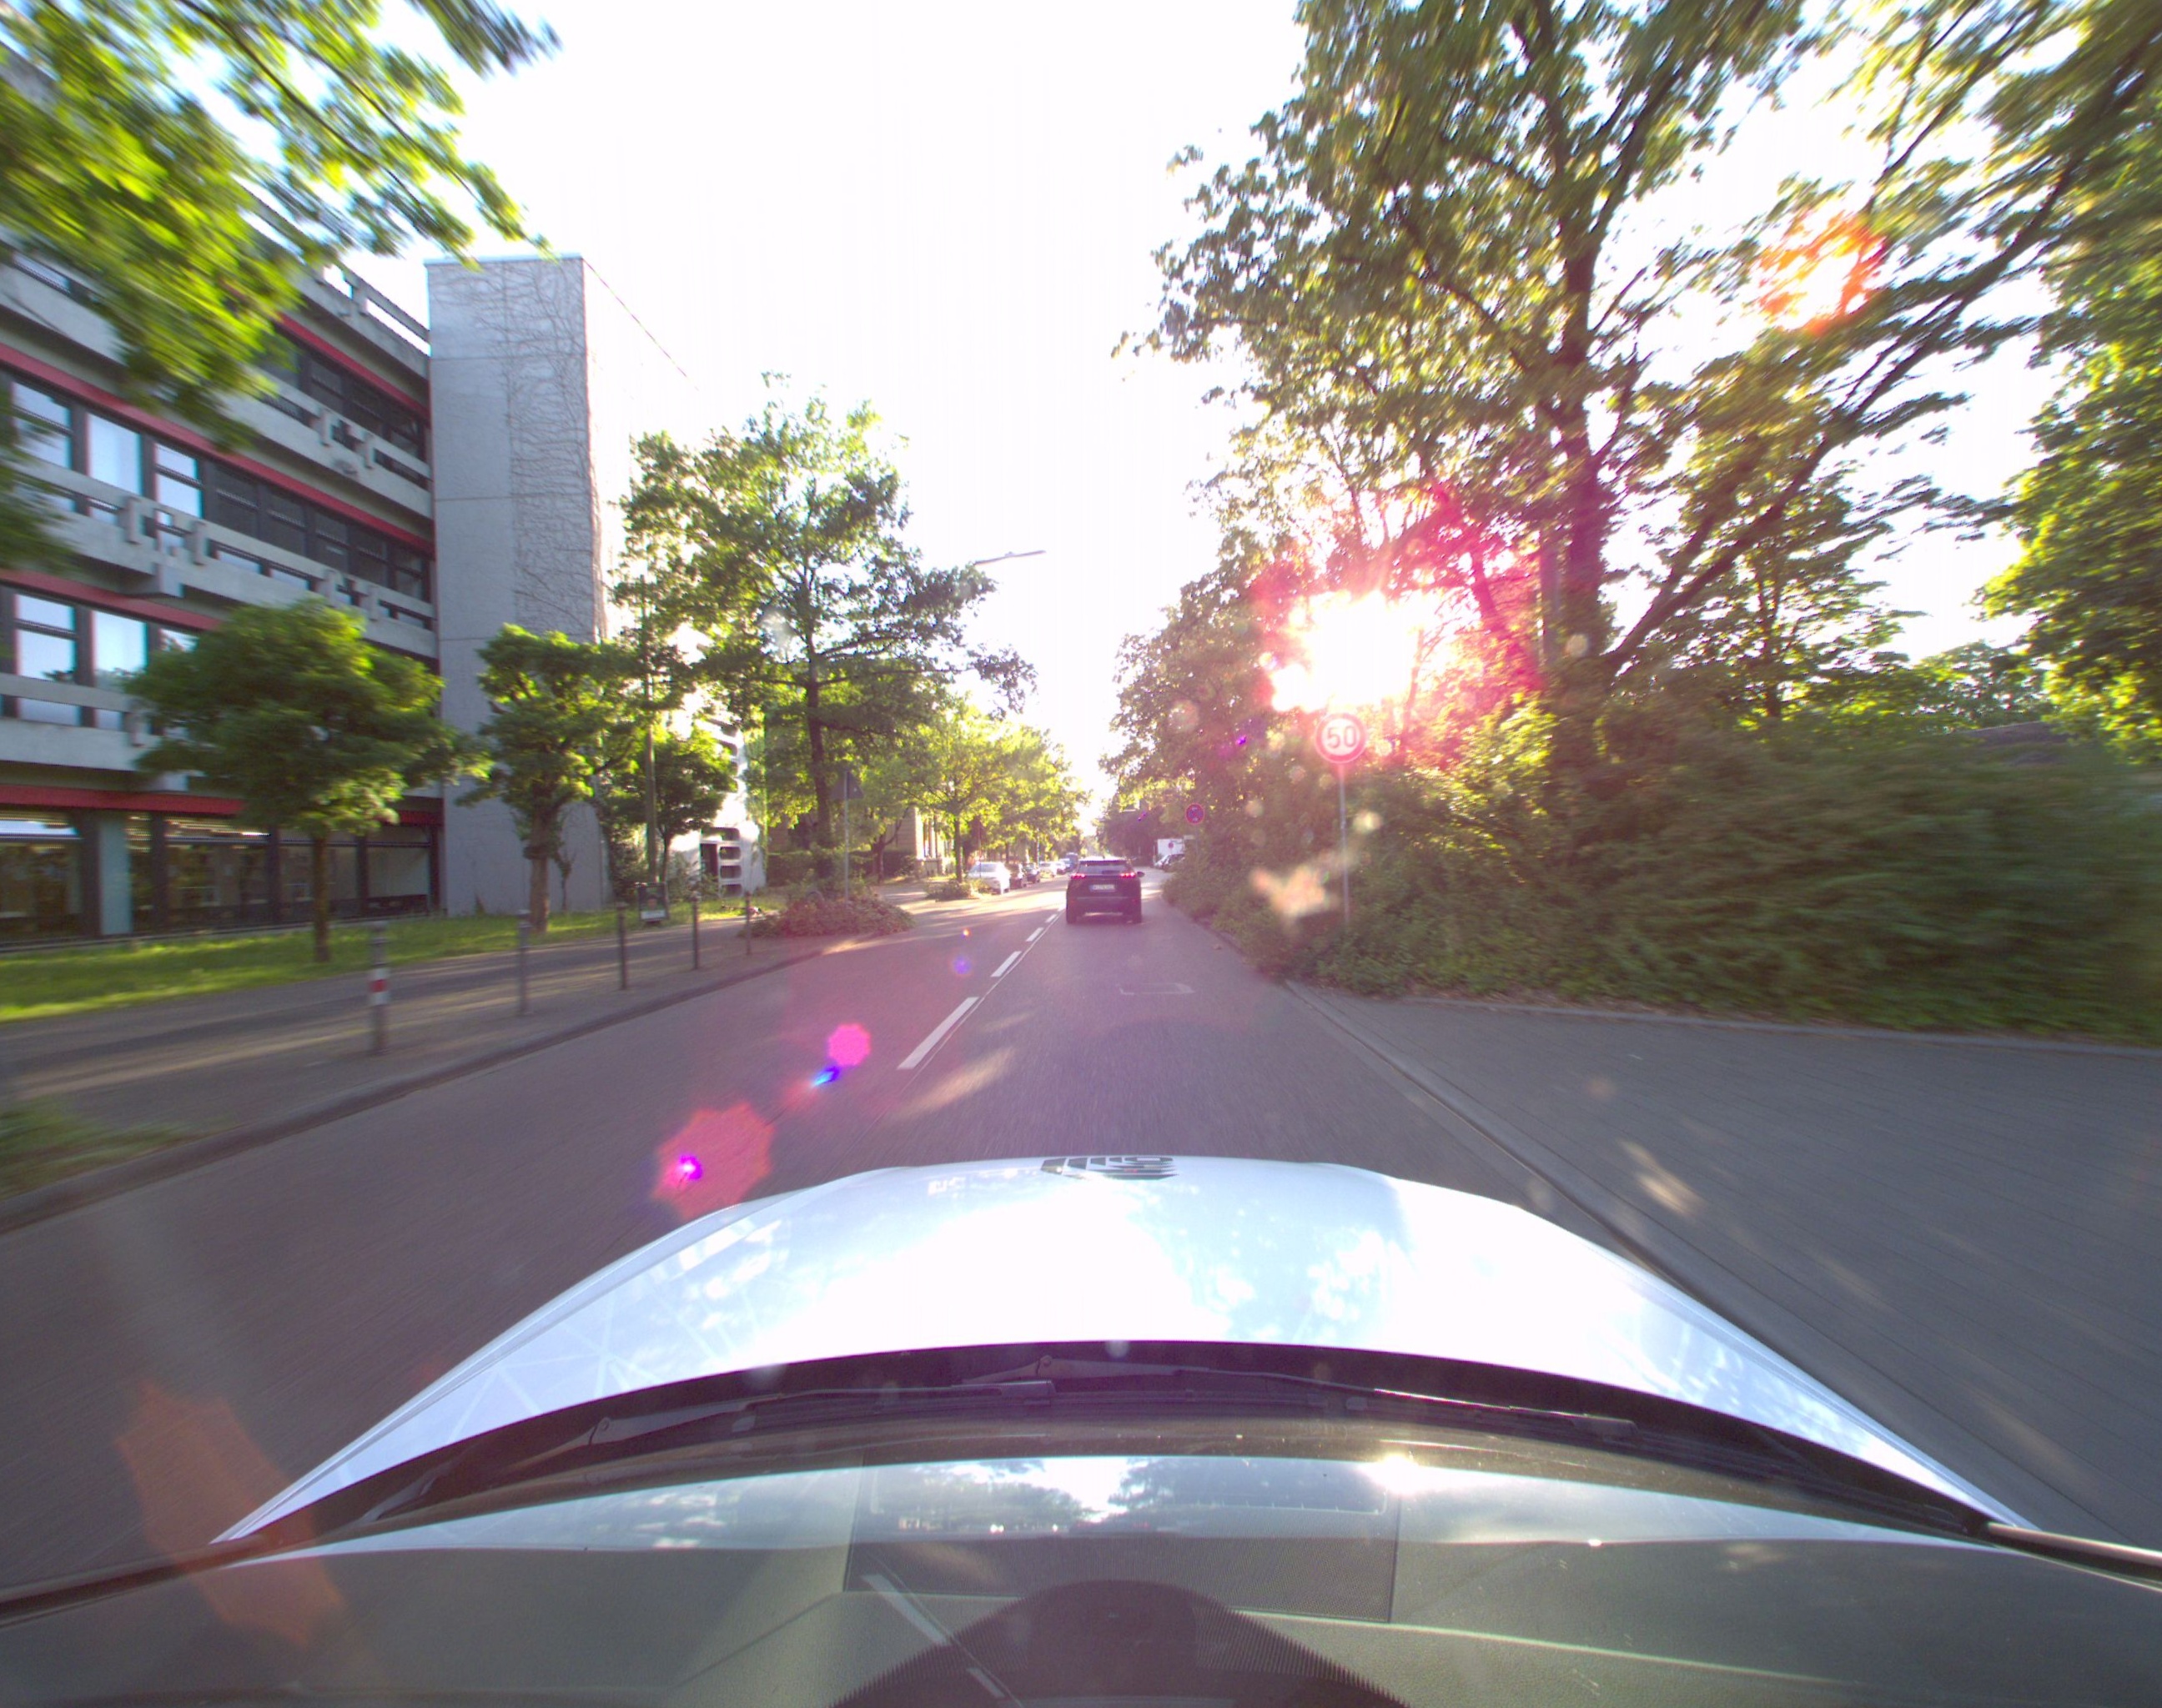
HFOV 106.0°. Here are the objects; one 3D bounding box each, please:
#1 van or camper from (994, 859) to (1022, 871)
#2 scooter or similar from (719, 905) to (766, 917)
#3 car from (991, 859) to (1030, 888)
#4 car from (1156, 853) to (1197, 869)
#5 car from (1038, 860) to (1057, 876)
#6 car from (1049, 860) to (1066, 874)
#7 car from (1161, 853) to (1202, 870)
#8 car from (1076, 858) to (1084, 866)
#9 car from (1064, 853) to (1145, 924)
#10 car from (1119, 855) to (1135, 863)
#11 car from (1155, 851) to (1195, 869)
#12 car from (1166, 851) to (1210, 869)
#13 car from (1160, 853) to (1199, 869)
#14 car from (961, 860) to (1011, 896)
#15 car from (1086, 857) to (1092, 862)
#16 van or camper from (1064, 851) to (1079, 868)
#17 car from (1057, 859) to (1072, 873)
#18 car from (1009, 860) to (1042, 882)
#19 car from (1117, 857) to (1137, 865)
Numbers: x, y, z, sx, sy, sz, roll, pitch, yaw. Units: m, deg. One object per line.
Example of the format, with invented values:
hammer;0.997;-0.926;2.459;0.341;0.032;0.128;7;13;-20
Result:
van or camper;-13.646;2.040;151.955;4.748;1.985;2.003;-2;4;3
scooter or similar;-10.586;1.772;25.493;1.163;0.276;1.244;-1;0;-14
car;-4.125;1.128;48.281;1.773;1.616;4.148;-1;-1;1
car;11.860;0.881;101.253;4.910;1.554;1.916;-4;-1;0
car;-3.239;1.370;79.650;1.612;1.496;3.925;-2;0;1
car;-2.676;1.488;92.399;1.612;1.496;4.378;-2;0;1
car;11.163;0.816;90.765;4.348;1.554;1.876;-4;-1;0
car;-0.176;1.698;164.952;1.609;1.515;3.711;-4;-1;0
car;0.590;0.769;20.206;1.765;1.568;4.110;-1;0;2
car;11.895;1.321;211.968;3.979;2.089;1.756;-2;-1;-4
car;11.914;0.715;103.574;4.836;1.916;1.916;-4;-1;0
car;11.197;0.664;85.701;4.348;1.554;1.727;-4;-1;0
car;11.606;0.845;96.462;4.348;1.537;1.921;-4;-1;0
car;-4.562;1.128;39.816;1.796;1.616;4.148;-2;-1;1
car;2.476;1.803;252.728;1.893;1.574;4.001;-2;-1;1
van or camper;-1.462;0.885;129.711;2.221;2.544;7.081;-1;-1;1
car;-2.161;1.639;110.033;1.770;1.866;4.334;0;0;2
car;-3.979;1.207;59.218;1.795;1.510;4.866;-1;-1;3
car;10.104;1.469;180.163;4.230;1.449;2.020;-4;-1;-1
